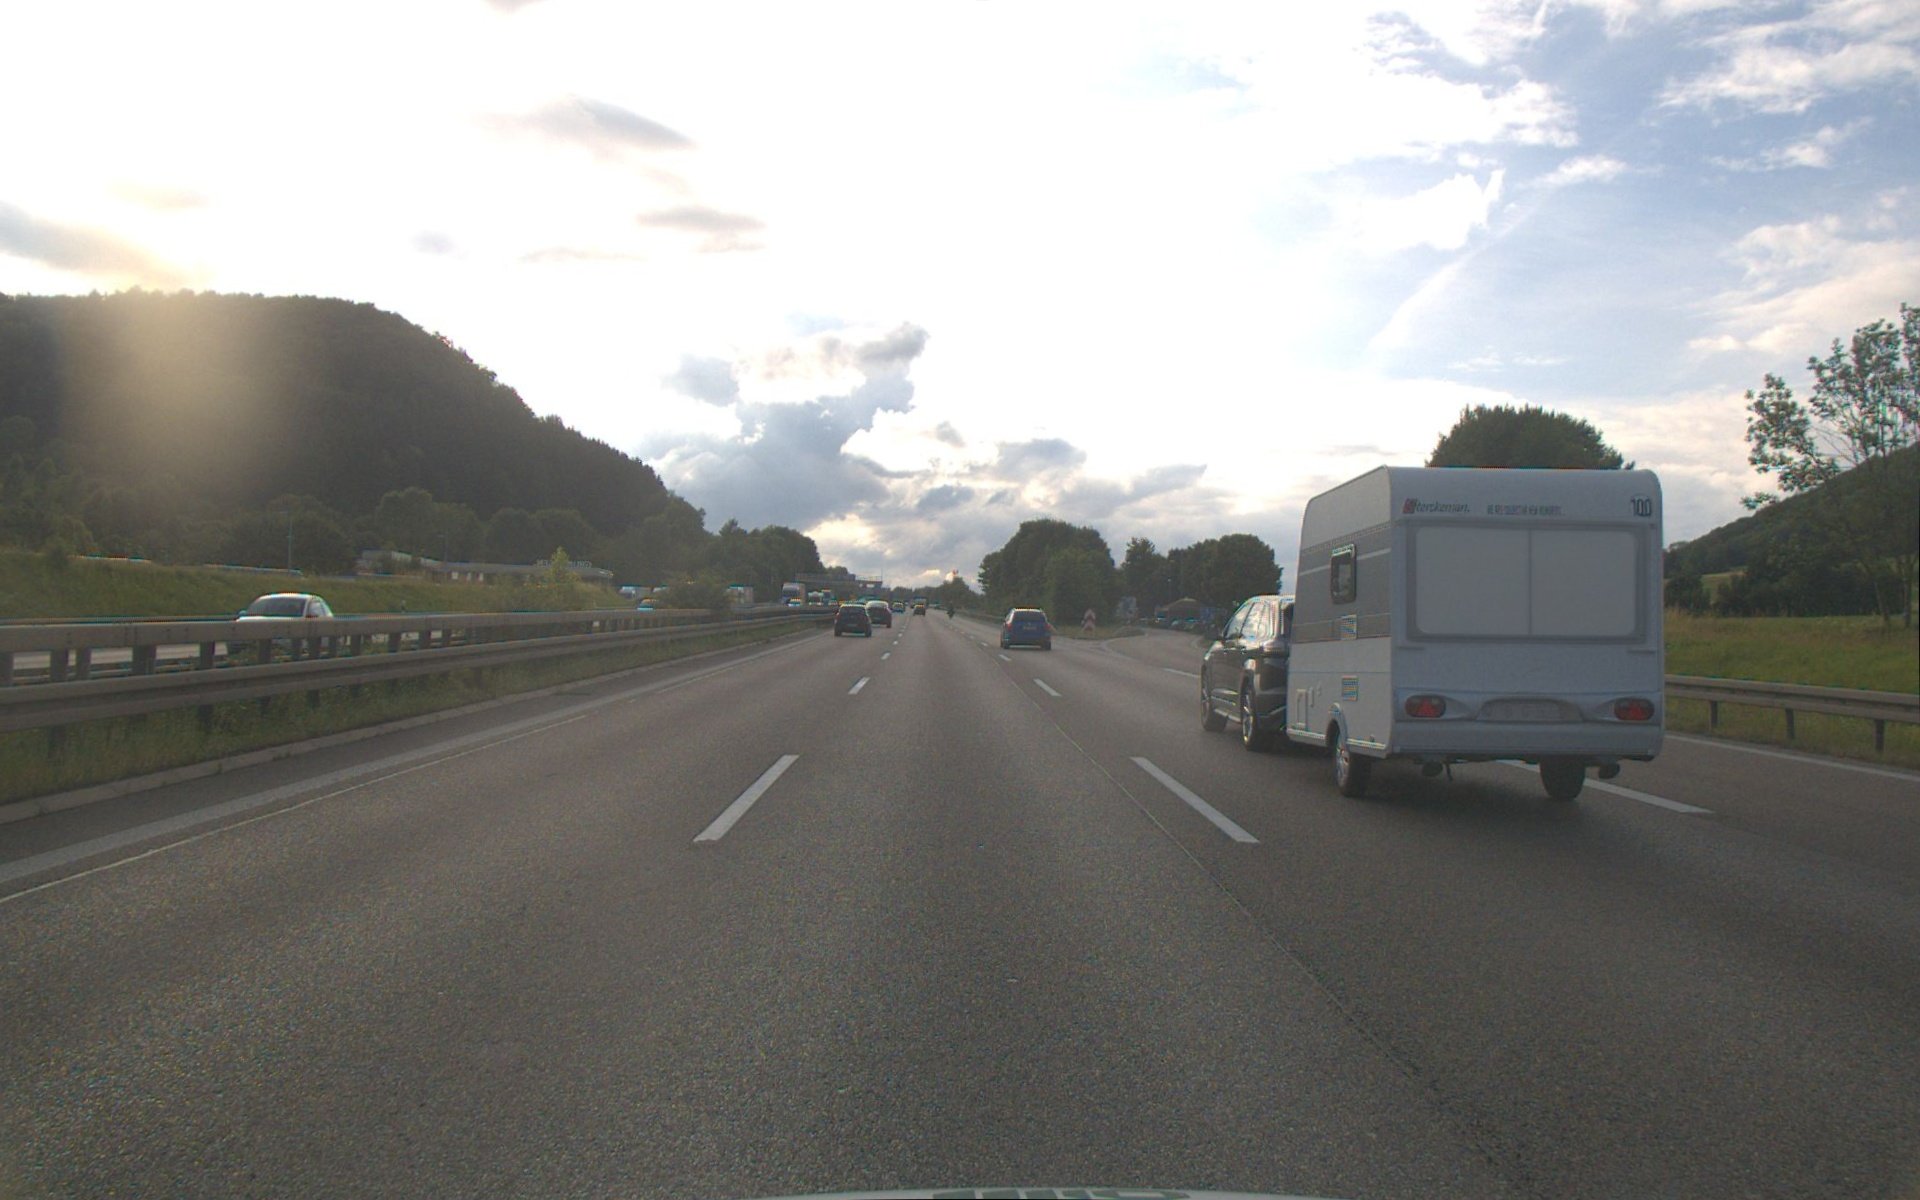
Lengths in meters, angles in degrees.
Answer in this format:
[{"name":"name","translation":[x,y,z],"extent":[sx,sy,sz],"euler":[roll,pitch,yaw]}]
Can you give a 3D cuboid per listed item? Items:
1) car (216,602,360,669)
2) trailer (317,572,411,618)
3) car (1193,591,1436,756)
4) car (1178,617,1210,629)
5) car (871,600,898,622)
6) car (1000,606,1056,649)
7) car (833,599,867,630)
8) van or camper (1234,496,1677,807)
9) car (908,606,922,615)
[{"name":"car","translation":[-16.016,0.811,39.618],"extent":[1.912,1.473,3.872],"euler":[-1,0,-1]},{"name":"trailer","translation":[-42.142,-0.279,117.371],"extent":[2.526,2.903,11.378],"euler":[0,-1,0]},{"name":"car","translation":[3.941,0.745,19.142],"extent":[1.750,1.681,4.480],"euler":[0,0,-1]},{"name":"car","translation":[30.654,2.988,216.433],"extent":[4.273,1.583,1.959],"euler":[2,-2,-42]},{"name":"car","translation":[-5.097,0.740,111.411],"extent":[1.533,1.404,4.000],"euler":[-1,0,1]},{"name":"car","translation":[2.437,0.957,60.022],"extent":[1.731,1.458,3.998],"euler":[-1,0,-2]},{"name":"car","translation":[-5.114,0.663,77.017],"extent":[1.507,1.371,3.674],"euler":[1,0,-4]},{"name":"van or camper","translation":[4.203,0.429,15.203],"extent":[2.495,2.278,5.329],"euler":[2,-1,1]},{"name":"car","translation":[-6.419,1.477,235.456],"extent":[1.717,1.243,3.995],"euler":[-1,0,-6]}]
